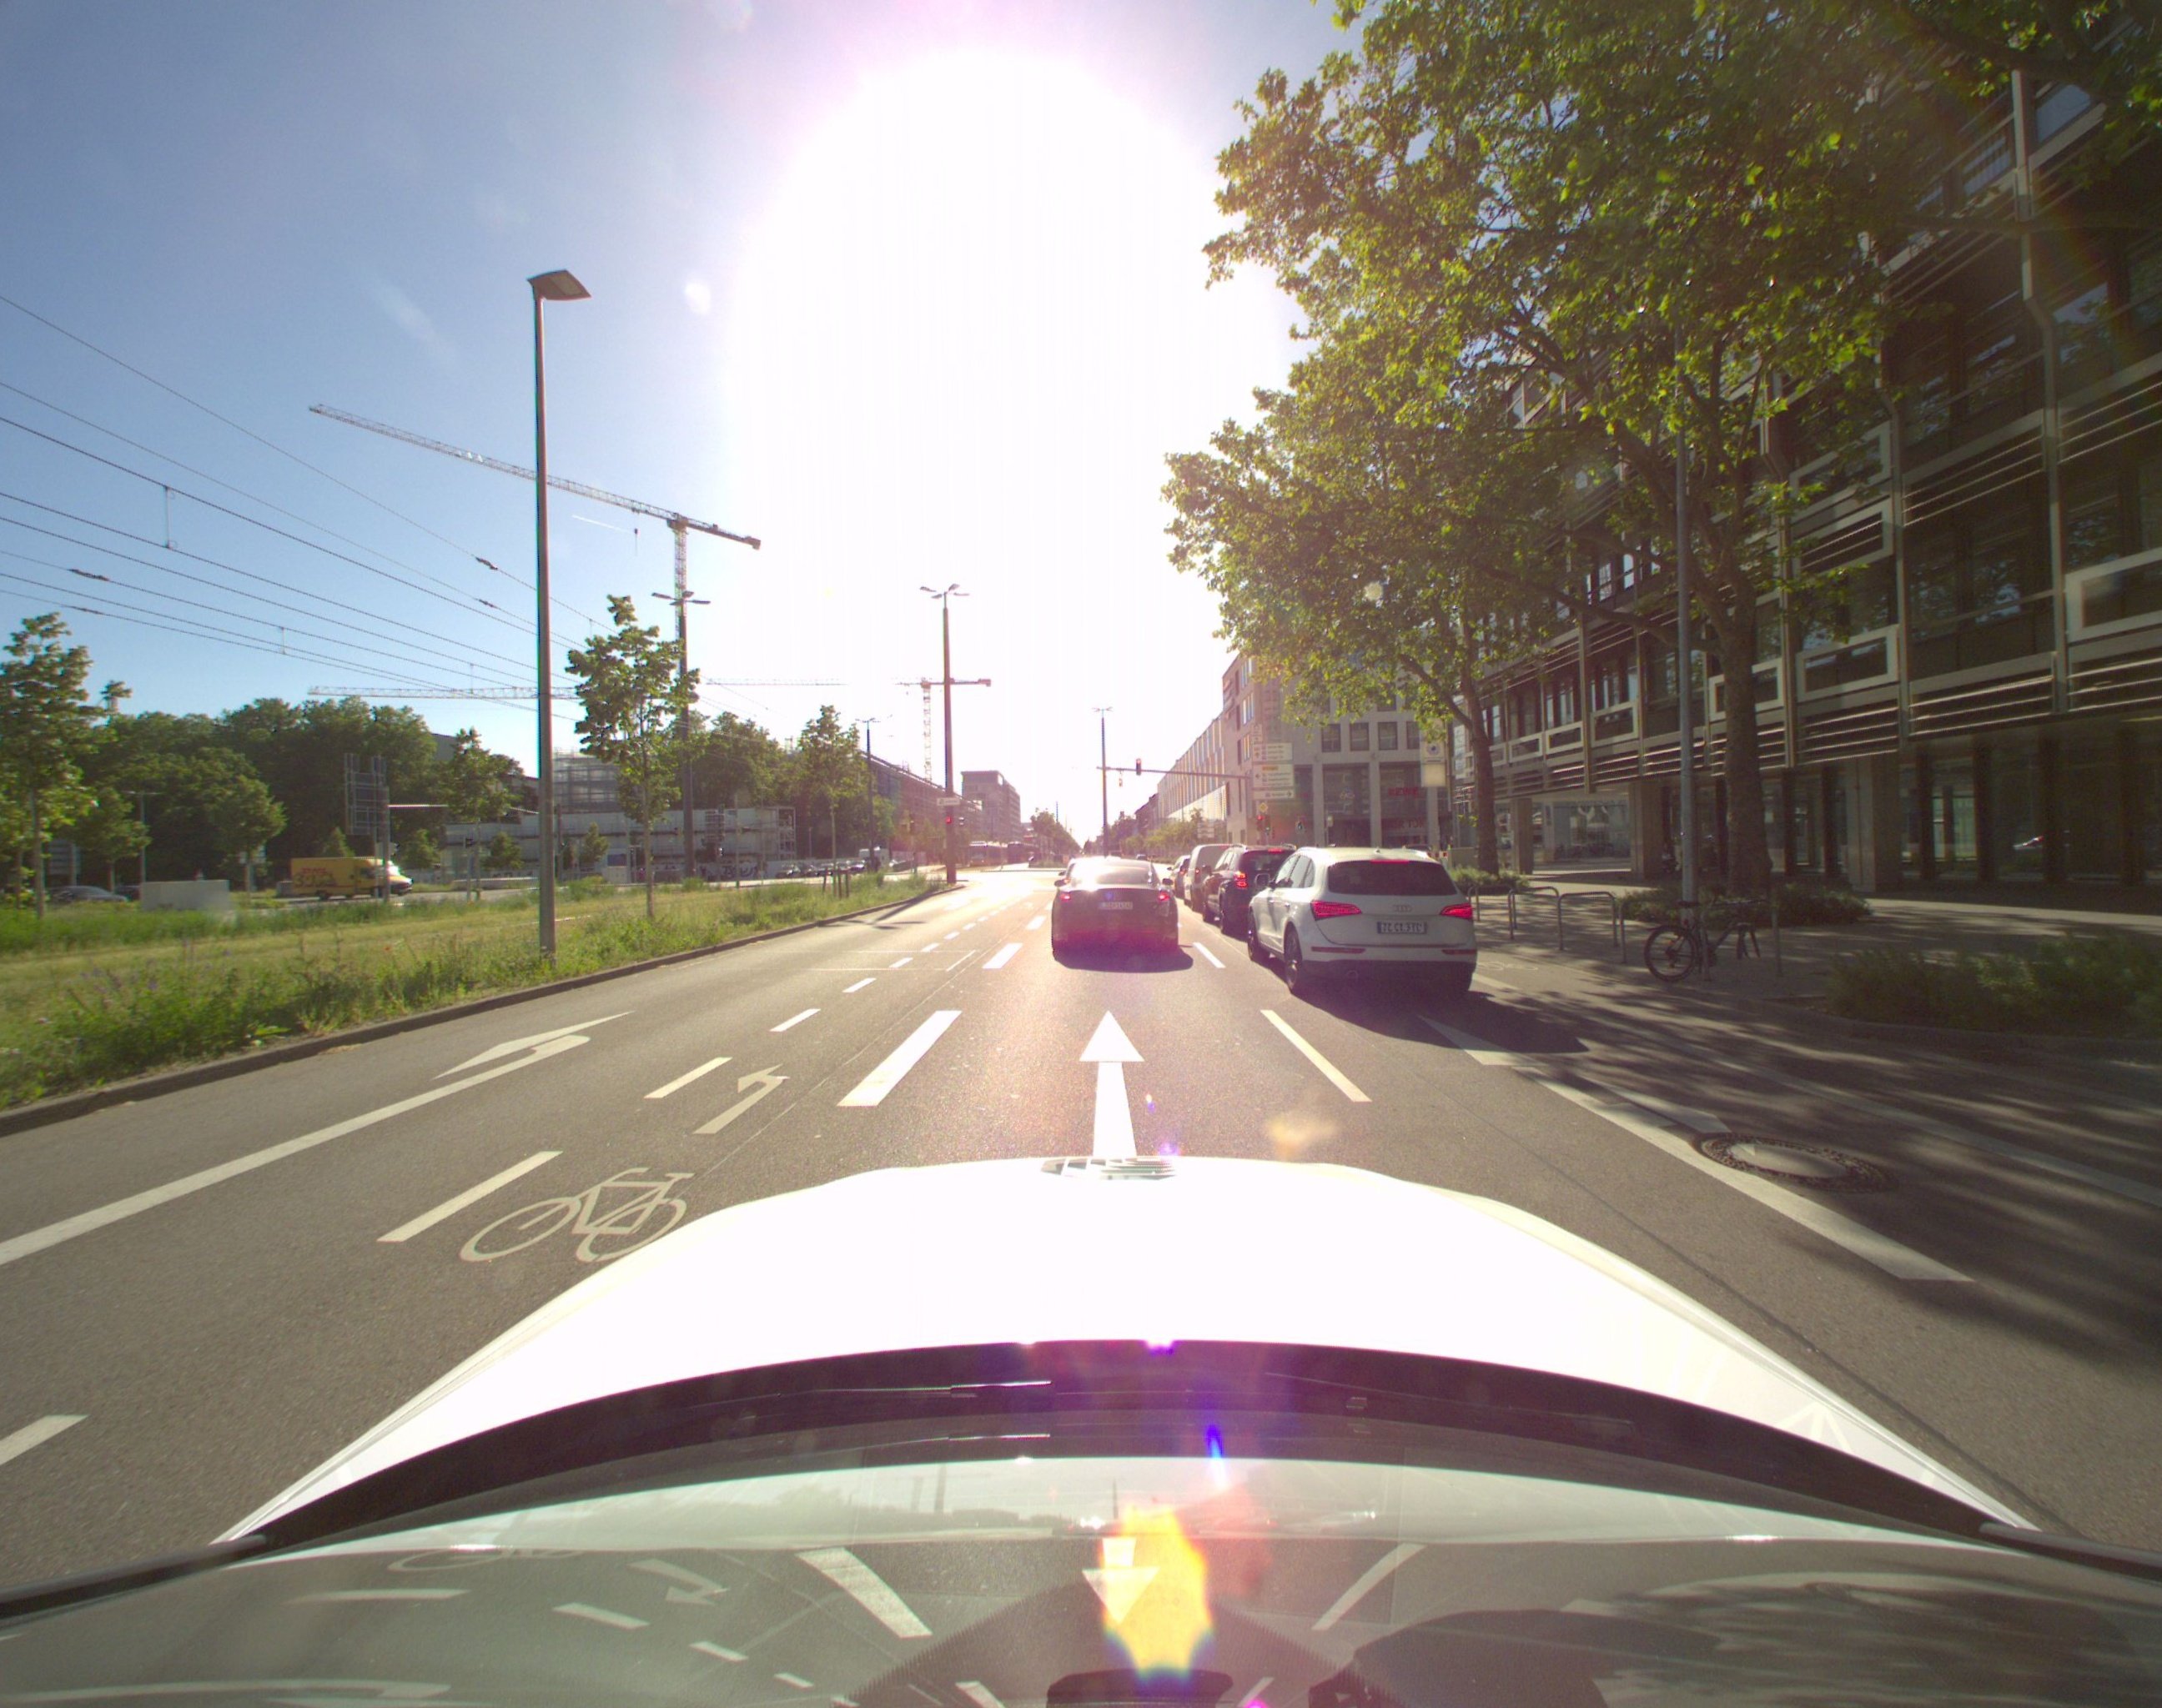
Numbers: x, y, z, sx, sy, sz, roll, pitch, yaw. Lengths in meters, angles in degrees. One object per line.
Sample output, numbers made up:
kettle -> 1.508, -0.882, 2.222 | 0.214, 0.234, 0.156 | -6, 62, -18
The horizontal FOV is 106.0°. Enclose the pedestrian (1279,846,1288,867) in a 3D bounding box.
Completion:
pedestrian -> 13.703, 0.159, 55.145 | 0.559, 1.440, 0.633 | 0, -1, 8

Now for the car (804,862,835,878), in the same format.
car -> -27.338, 1.675, 85.253 | 1.831, 1.612, 3.896 | 0, -1, 1

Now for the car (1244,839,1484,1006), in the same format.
car -> 3.219, 0.674, 10.165 | 1.714, 1.618, 4.190 | -1, 0, 3

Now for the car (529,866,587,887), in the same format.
car -> -40.135, 1.701, 62.609 | 1.704, 1.556, 4.001 | 0, -1, 2

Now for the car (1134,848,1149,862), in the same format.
car -> 8.704, 0.159, 117.711 | 1.986, 2.014, 4.001 | 0, -1, 2

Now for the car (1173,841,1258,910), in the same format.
car -> 3.770, 0.557, 23.435 | 1.716, 1.782, 4.185 | -1, 0, 0

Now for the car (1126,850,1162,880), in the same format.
car -> 3.266, 0.541, 42.777 | 1.715, 1.431, 4.188 | -1, 0, 2

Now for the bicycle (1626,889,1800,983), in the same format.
bicycle -> 7.397, 0.944, 9.561 | 1.689, 0.957, 0.478 | -3, 0, -3

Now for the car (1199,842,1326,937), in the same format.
car -> 3.564, 0.628, 16.725 | 1.715, 1.653, 4.187 | -1, 0, 1

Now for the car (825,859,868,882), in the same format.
car -> -12.868, 0.896, 44.812 | 1.371, 1.178, 3.220 | 0, -1, 1

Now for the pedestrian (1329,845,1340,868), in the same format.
pedestrian -> 15.994, 0.143, 51.309 | 0.559, 1.440, 0.633 | 0, -1, 8

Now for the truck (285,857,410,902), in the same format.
truck -> -49.482, 1.703, 55.008 | 6.930, 2.963, 2.003 | 0, -1, 5

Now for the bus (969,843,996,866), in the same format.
bus -> -12.620, 0.147, 104.988 | 2.620, 2.783, 8.839 | 0, -1, -1

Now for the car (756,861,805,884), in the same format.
car -> -16.076, 0.989, 43.683 | 1.371, 1.178, 3.220 | 0, -1, 1

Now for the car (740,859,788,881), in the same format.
car -> -17.599, 0.883, 45.310 | 1.371, 1.178, 3.220 | 0, -1, 1

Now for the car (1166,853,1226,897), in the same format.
car -> 4.142, 0.713, 29.873 | 1.715, 1.431, 4.188 | -1, 0, 2

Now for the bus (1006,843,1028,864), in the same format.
bus -> -9.546, -0.046, 121.629 | 2.620, 2.959, 9.893 | 0, -1, -1

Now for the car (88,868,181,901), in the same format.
car -> -60.400, 1.935, 52.022 | 3.970, 2.014, 1.771 | 0, -1, 3

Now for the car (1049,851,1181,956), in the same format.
car -> 0.526, 0.723, 13.971 | 1.905, 1.486, 4.010 | -1, 0, 1

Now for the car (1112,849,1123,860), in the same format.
car -> 6.648, 0.111, 149.530 | 1.986, 2.014, 4.001 | 0, -1, 2
